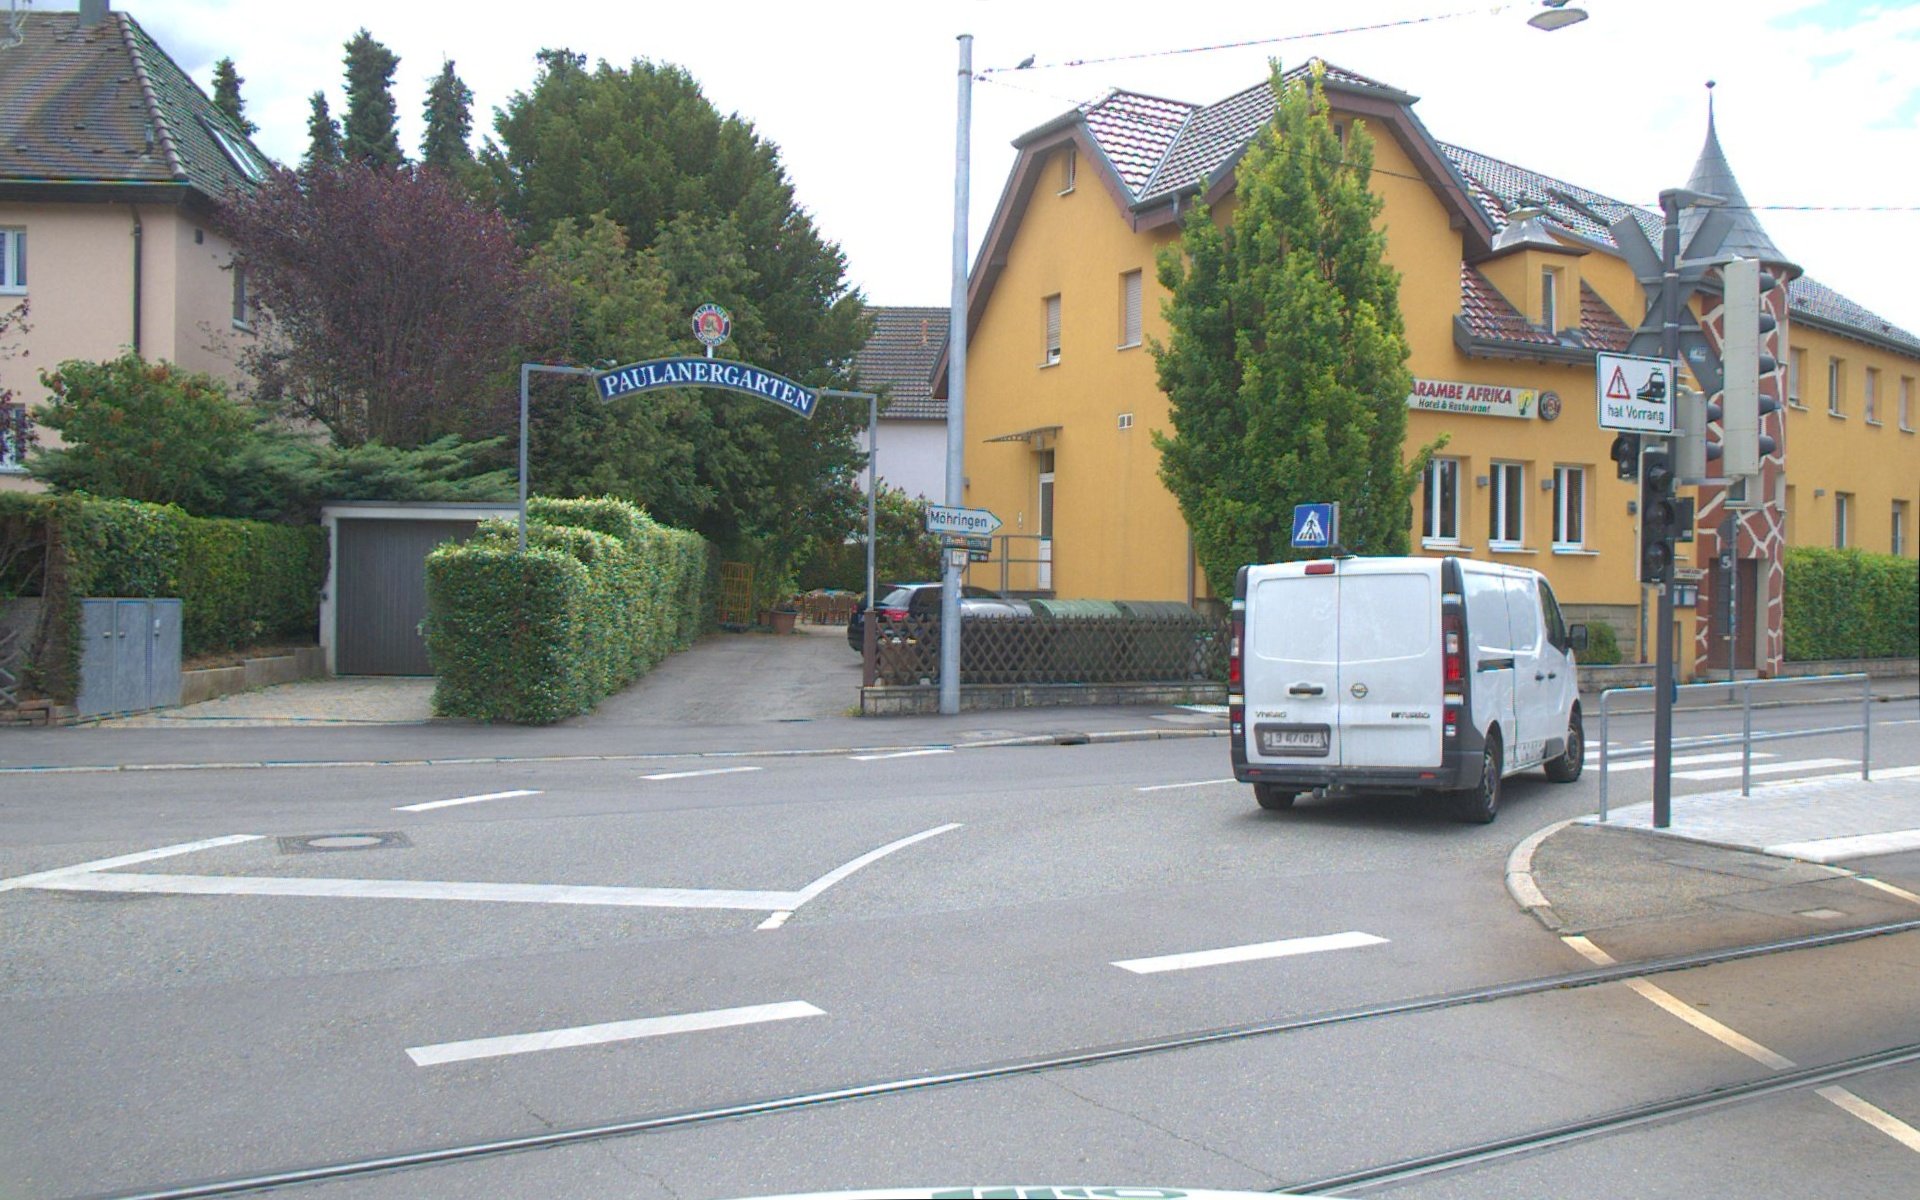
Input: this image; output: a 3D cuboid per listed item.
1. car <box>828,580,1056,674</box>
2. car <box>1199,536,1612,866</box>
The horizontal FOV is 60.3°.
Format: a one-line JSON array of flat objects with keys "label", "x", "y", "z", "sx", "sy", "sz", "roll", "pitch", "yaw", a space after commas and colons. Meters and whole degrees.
[{"label": "car", "x": -0.289, "y": 0.424, "z": 28.730, "sx": 3.636, "sy": 1.452, "sz": 1.707, "roll": -1, "pitch": 3, "yaw": -35}, {"label": "car", "x": 3.968, "y": 0.659, "z": 13.859, "sx": 2.077, "sy": 2.171, "sz": 5.431, "roll": 2, "pitch": 1, "yaw": 29}]
